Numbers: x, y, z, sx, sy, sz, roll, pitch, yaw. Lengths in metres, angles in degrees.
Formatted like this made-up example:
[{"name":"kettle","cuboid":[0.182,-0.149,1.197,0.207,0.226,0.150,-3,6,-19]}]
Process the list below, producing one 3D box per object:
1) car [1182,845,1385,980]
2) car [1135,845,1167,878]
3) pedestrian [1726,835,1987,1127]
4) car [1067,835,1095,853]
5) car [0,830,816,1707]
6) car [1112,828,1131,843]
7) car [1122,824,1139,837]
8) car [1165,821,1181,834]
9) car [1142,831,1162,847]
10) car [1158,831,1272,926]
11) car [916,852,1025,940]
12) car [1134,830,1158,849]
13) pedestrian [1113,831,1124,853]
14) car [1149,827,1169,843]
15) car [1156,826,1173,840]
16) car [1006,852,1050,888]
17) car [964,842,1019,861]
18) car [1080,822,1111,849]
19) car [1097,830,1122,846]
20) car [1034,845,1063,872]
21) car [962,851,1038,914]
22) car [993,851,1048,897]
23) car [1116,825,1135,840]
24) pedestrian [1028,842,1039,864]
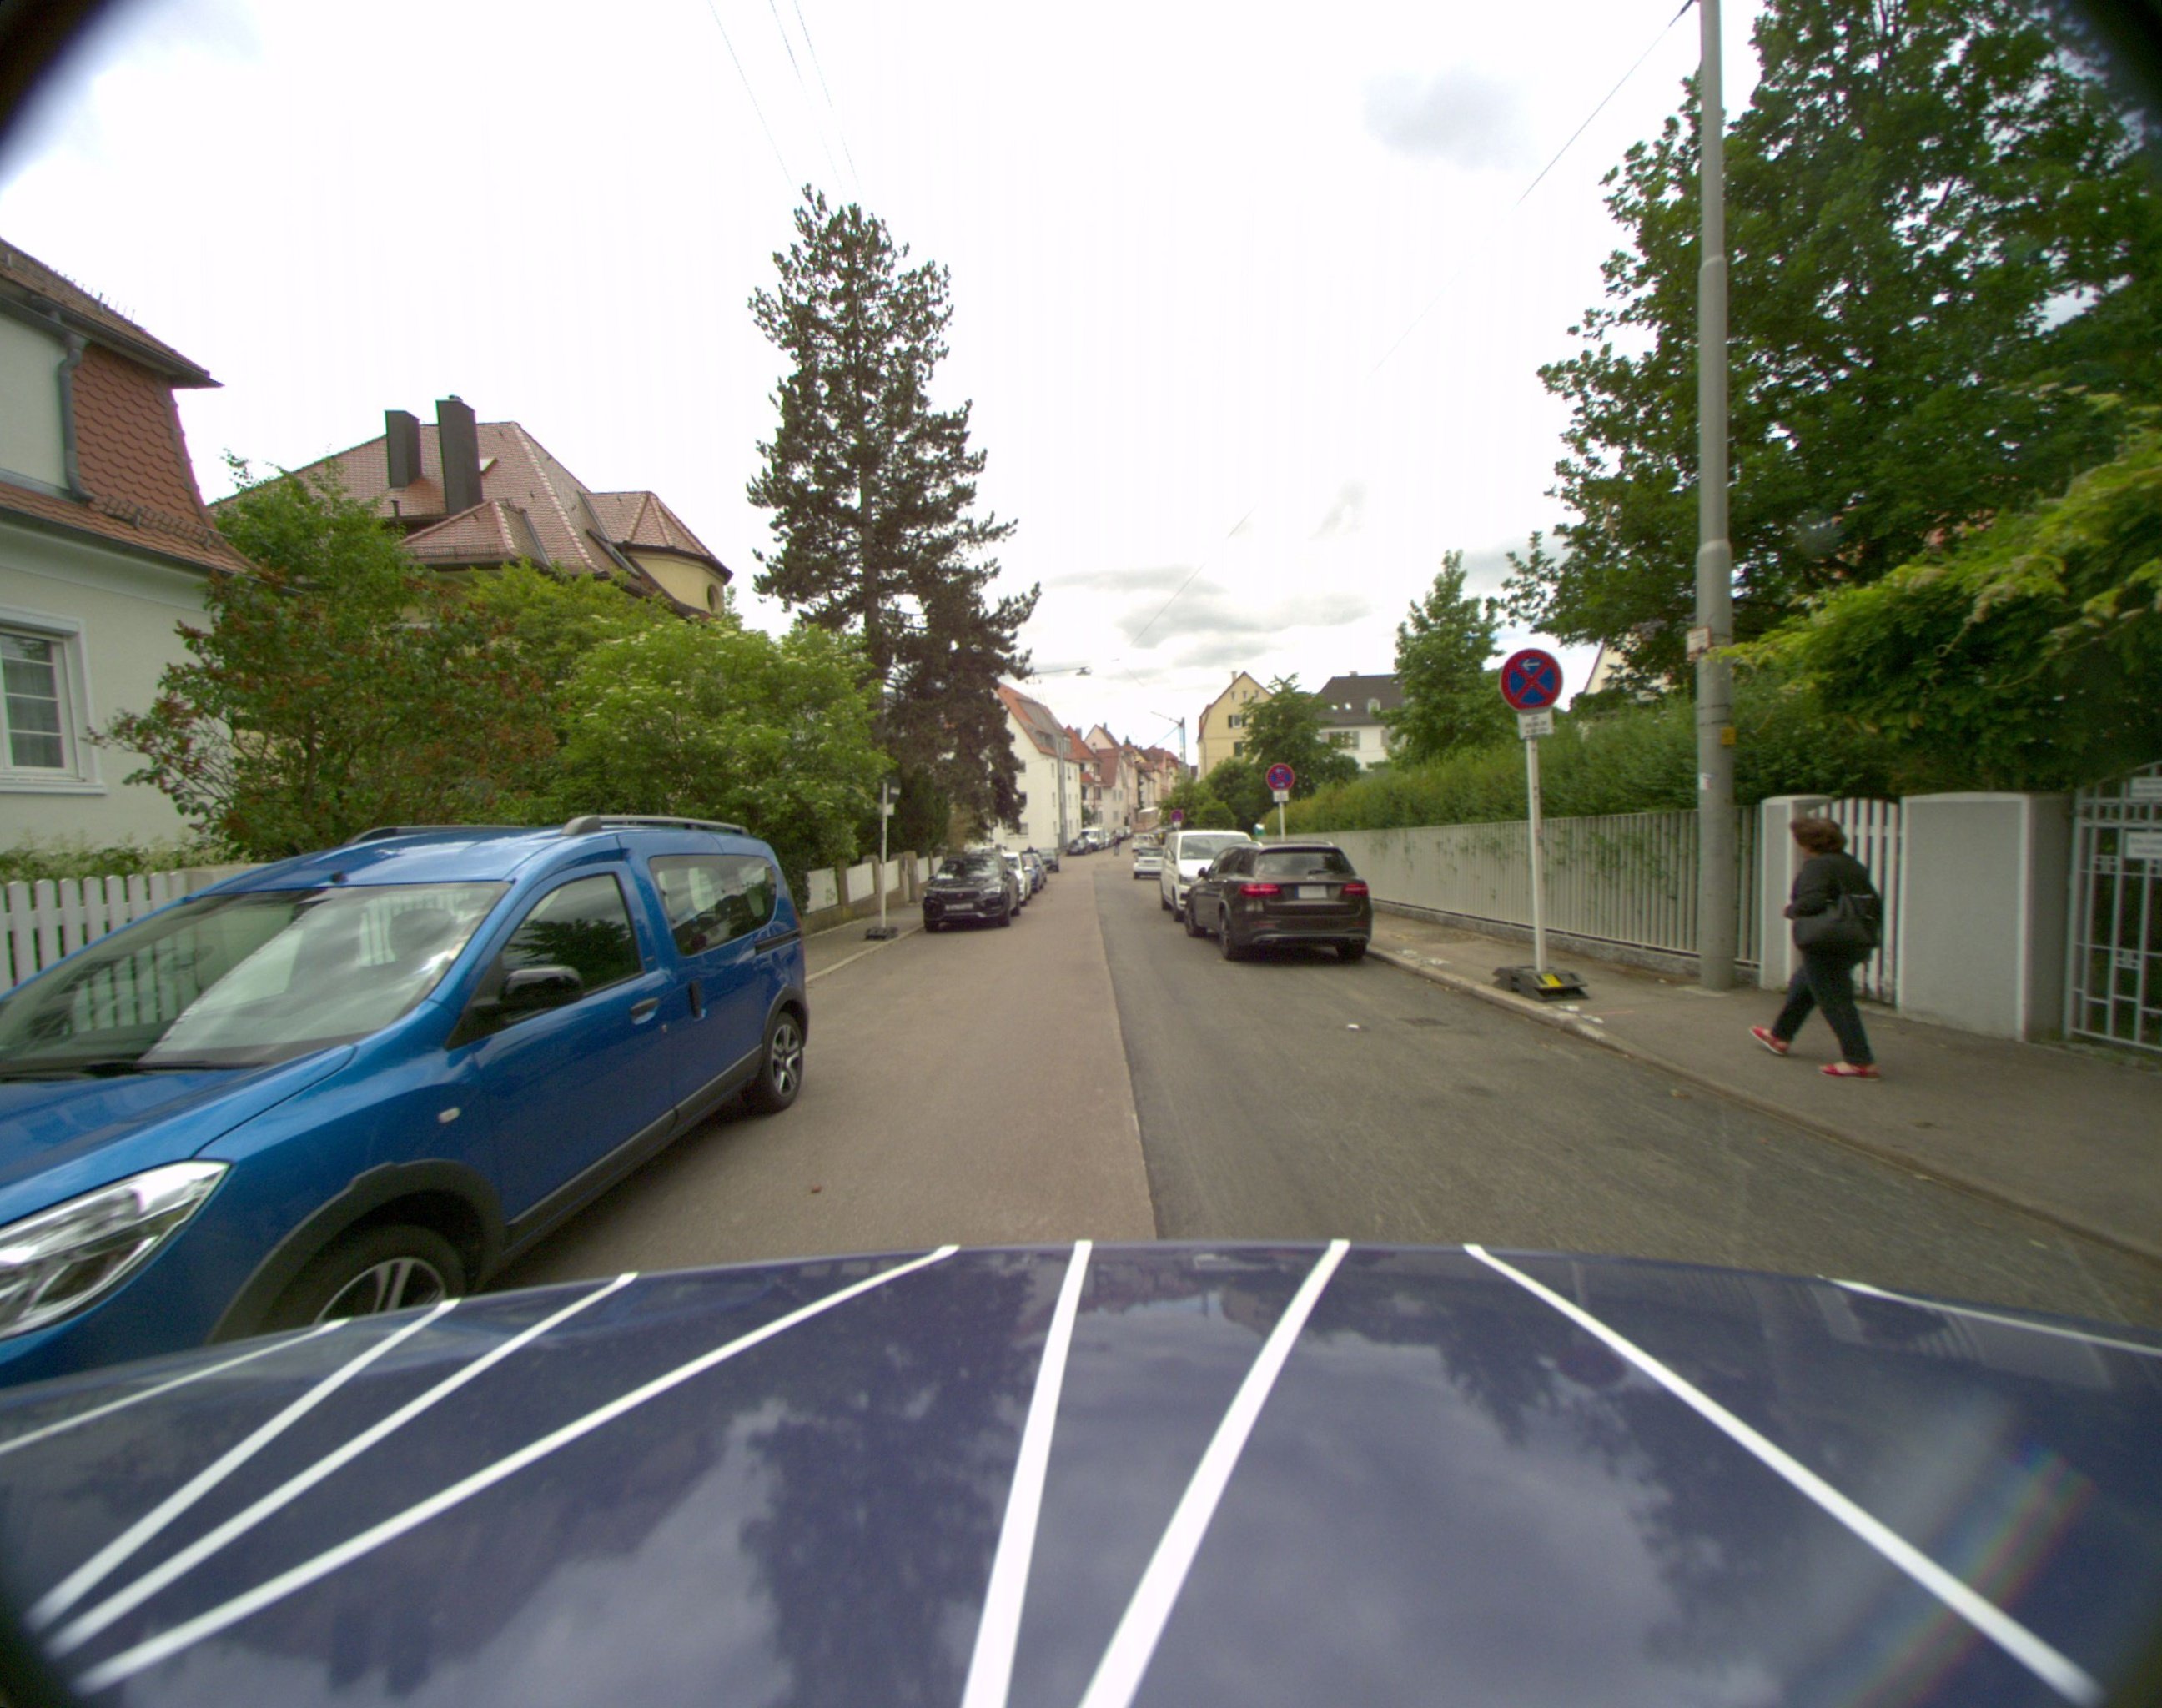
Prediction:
[{"name":"car","cuboid":[2.771,0.689,11.470,1.795,1.614,4.342,-1,1,-1]},{"name":"car","cuboid":[3.437,0.333,37.029,1.445,1.543,2.771,1,1,8]},{"name":"pedestrian","cuboid":[4.587,0.693,4.558,0.610,1.538,0.797,-7,1,0]},{"name":"car","cuboid":[0.046,-0.975,71.426,1.821,1.478,4.287,-2,3,10]},{"name":"car","cuboid":[-2.724,0.915,3.090,1.687,1.818,4.156,-4,0,0]},{"name":"car","cuboid":[5.085,-2.274,93.927,1.779,1.711,4.001,-2,3,10]},{"name":"car","cuboid":[6.480,-3.095,98.757,1.628,1.386,4.236,-3,4,11]},{"name":"car","cuboid":[11.515,-3.360,95.077,1.641,1.392,3.703,-1,5,12]},{"name":"car","cuboid":[7.240,-1.572,77.364,1.609,1.446,3.614,1,4,12]},{"name":"car","cuboid":[2.908,0.435,17.459,1.859,1.902,4.618,0,1,1]},{"name":"car","cuboid":[-2.406,0.852,17.541,1.754,1.599,4.074,-4,1,1]},{"name":"car","cuboid":[6.213,-1.410,72.266,1.807,1.650,4.153,-1,3,12]},{"name":"pedestrian","cuboid":[3.255,-1.030,65.211,0.822,1.750,0.644,-4,3,4]},{"name":"car","cuboid":[8.844,-2.178,85.676,1.805,1.473,4.329,-1,5,12]},{"name":"car","cuboid":[9.993,-2.563,91.177,1.641,1.421,4.123,0,5,12]},{"name":"car","cuboid":[-2.327,0.670,34.333,1.577,1.392,3.655,-4,1,1]},{"name":"car","cuboid":[-7.834,-0.234,66.352,4.352,1.442,1.765,-3,2,13]},{"name":"car","cuboid":[1.527,-1.905,77.364,1.996,2.410,5.294,-1,4,13]},{"name":"car","cuboid":[3.164,-1.757,83.737,1.827,1.437,4.384,-2,4,13]},{"name":"car","cuboid":[-2.006,0.266,47.476,1.576,1.523,2.866,-5,1,-2]},{"name":"car","cuboid":[-2.393,0.783,23.486,1.789,1.594,4.303,-4,1,0]},{"name":"car","cuboid":[-2.285,0.722,29.756,1.651,1.450,4.051,-4,2,1]},{"name":"car","cuboid":[5.508,-2.681,93.228,1.607,1.482,4.023,-3,5,12]},{"name":"pedestrian","cuboid":[-3.656,-0.081,58.170,0.682,1.568,0.906,0,4,7]}]
